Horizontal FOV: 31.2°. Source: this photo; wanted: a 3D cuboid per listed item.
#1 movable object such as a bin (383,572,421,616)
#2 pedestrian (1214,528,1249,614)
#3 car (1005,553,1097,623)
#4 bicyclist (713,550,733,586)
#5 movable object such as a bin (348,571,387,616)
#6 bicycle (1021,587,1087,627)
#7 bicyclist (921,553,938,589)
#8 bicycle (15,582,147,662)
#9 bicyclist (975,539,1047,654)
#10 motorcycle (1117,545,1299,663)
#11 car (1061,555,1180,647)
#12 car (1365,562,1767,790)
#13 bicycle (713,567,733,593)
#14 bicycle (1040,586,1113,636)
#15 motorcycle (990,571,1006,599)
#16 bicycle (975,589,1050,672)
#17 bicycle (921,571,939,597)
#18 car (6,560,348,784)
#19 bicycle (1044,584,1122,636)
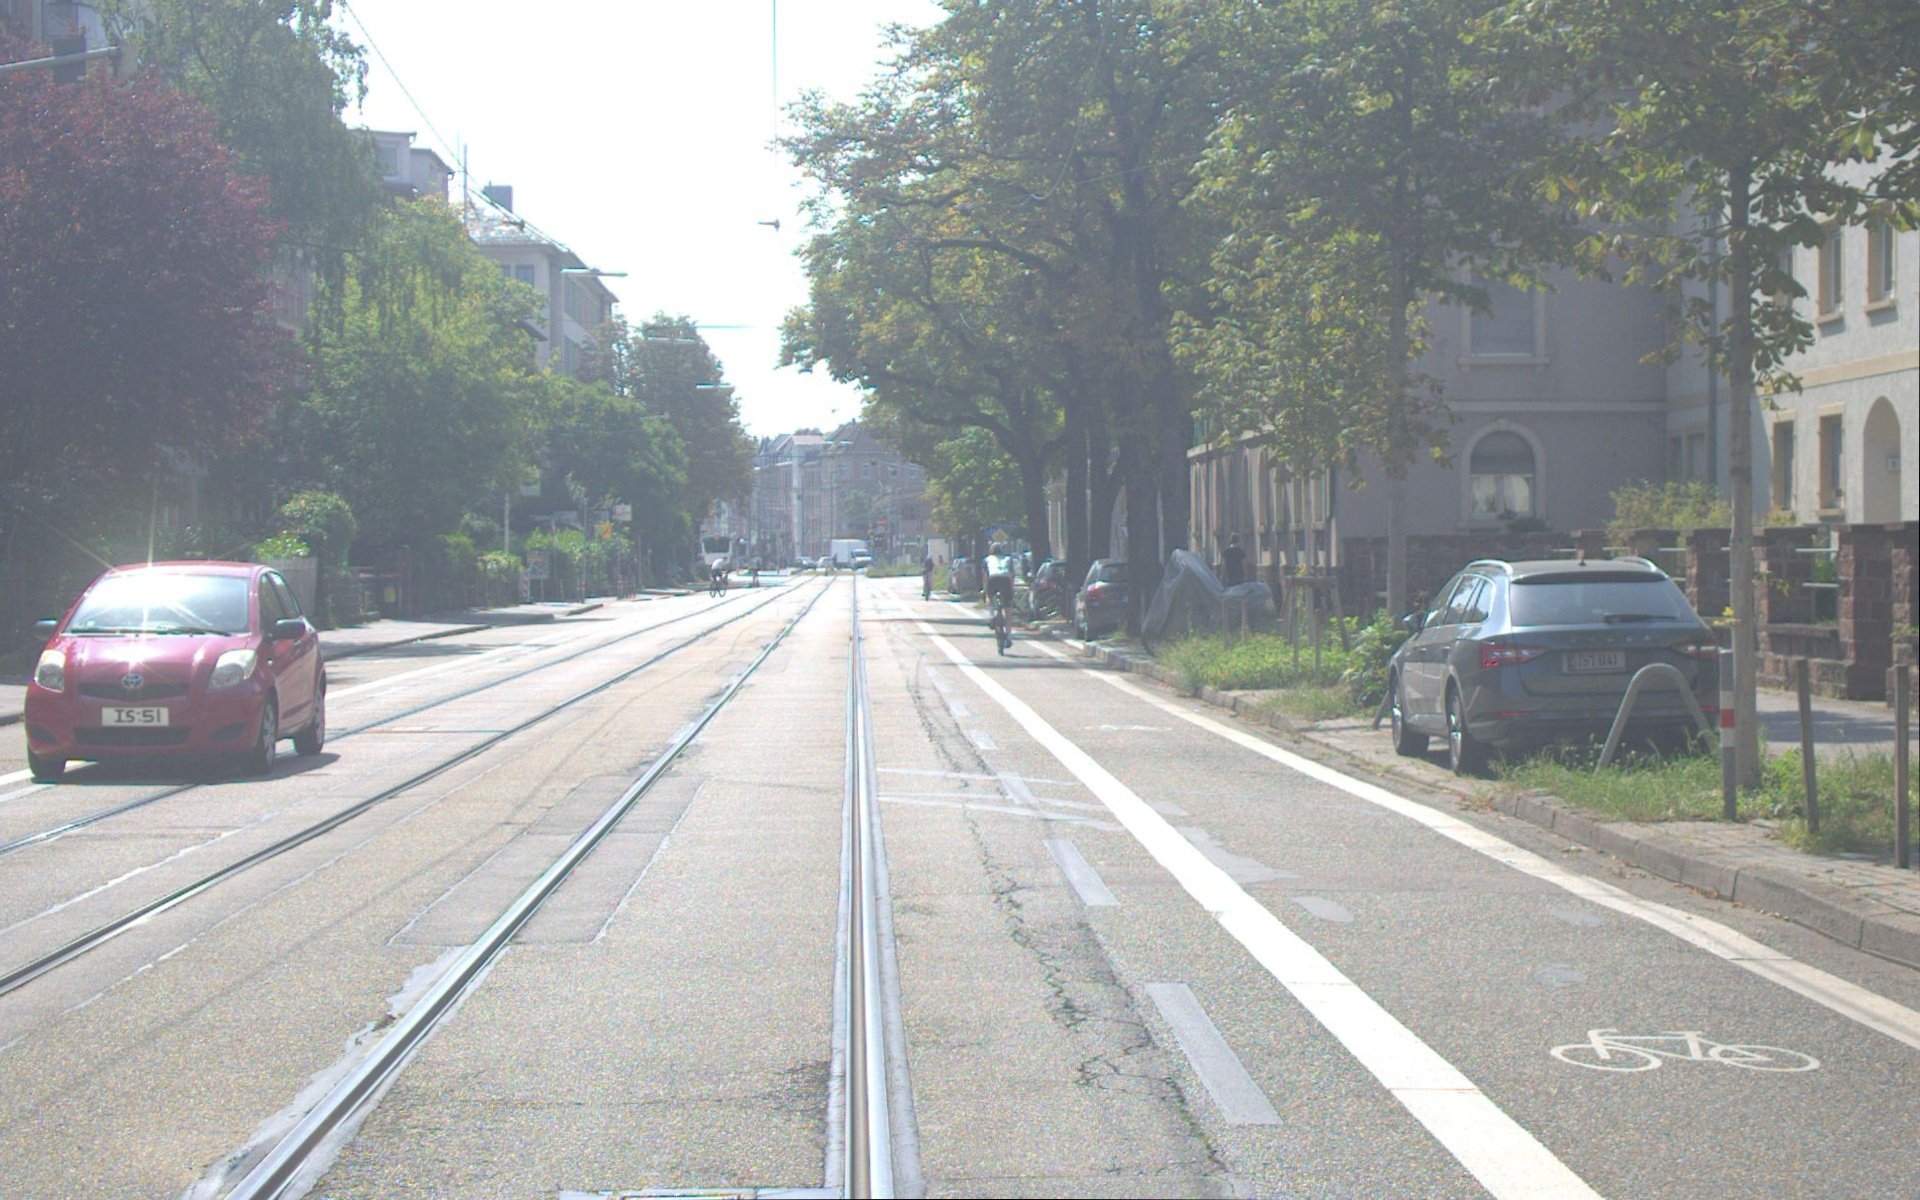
[{"bbox_3d":[-13.733,-0.145,84.605,0.786,1.072,0.803,1,0,1],"label":"movable object such as a bin"},{"bbox_3d":[5.991,-0.630,75.863,0.706,1.885,0.714,0,0,0],"label":"pedestrian"},{"bbox_3d":[2.105,-0.296,80.759,1.840,1.527,4.780,-2,0,-2],"label":"car"},{"bbox_3d":[-9.363,-1.269,135.774,0.758,1.387,0.779,0,0,-4],"label":"bicyclist"},{"bbox_3d":[-14.578,-0.159,84.580,0.786,1.072,0.803,1,0,1],"label":"movable object such as a bin"},{"bbox_3d":[2.481,0.181,90.934,1.713,1.028,0.566,0,0,0],"label":"bicycle"},{"bbox_3d":[-1.088,-1.026,122.766,0.579,1.274,0.471,0,0,1],"label":"bicyclist"},{"bbox_3d":[-13.347,0.323,52.235,1.812,1.178,0.716,1,0,1],"label":"bicycle"},{"bbox_3d":[0.820,-0.060,55.533,1.125,1.830,0.956,0,0,-1],"label":"bicyclist"},{"bbox_3d":[3.425,0.065,47.552,2.344,1.535,0.966,-3,-2,40],"label":"motorcycle"},{"bbox_3d":[2.930,-0.012,63.353,1.840,1.527,4.115,-1,2,-2],"label":"car"},{"bbox_3d":[4.258,0.471,24.945,1.892,1.472,4.841,-1,1,-2],"label":"car"},{"bbox_3d":[-9.364,-0.781,135.809,0.758,0.987,2.298,0,0,-4],"label":"bicycle"},{"bbox_3d":[2.594,0.236,76.531,1.606,1.100,0.398,0,0,5],"label":"bicycle"},{"bbox_3d":[1.462,-0.566,132.874,0.549,1.064,2.330,0,0,-1],"label":"motorcycle"},{"bbox_3d":[0.833,0.477,55.383,1.148,1.265,2.712,-1,1,0],"label":"bicycle"},{"bbox_3d":[-1.083,-0.571,122.772,0.588,0.936,2.172,0,0,1],"label":"bicycle"},{"bbox_3d":[-5.710,0.467,25.516,1.732,1.485,4.000,-1,1,-2],"label":"car"},{"bbox_3d":[2.750,0.222,76.913,1.723,1.145,0.377,0,0,5],"label":"bicycle"}]
